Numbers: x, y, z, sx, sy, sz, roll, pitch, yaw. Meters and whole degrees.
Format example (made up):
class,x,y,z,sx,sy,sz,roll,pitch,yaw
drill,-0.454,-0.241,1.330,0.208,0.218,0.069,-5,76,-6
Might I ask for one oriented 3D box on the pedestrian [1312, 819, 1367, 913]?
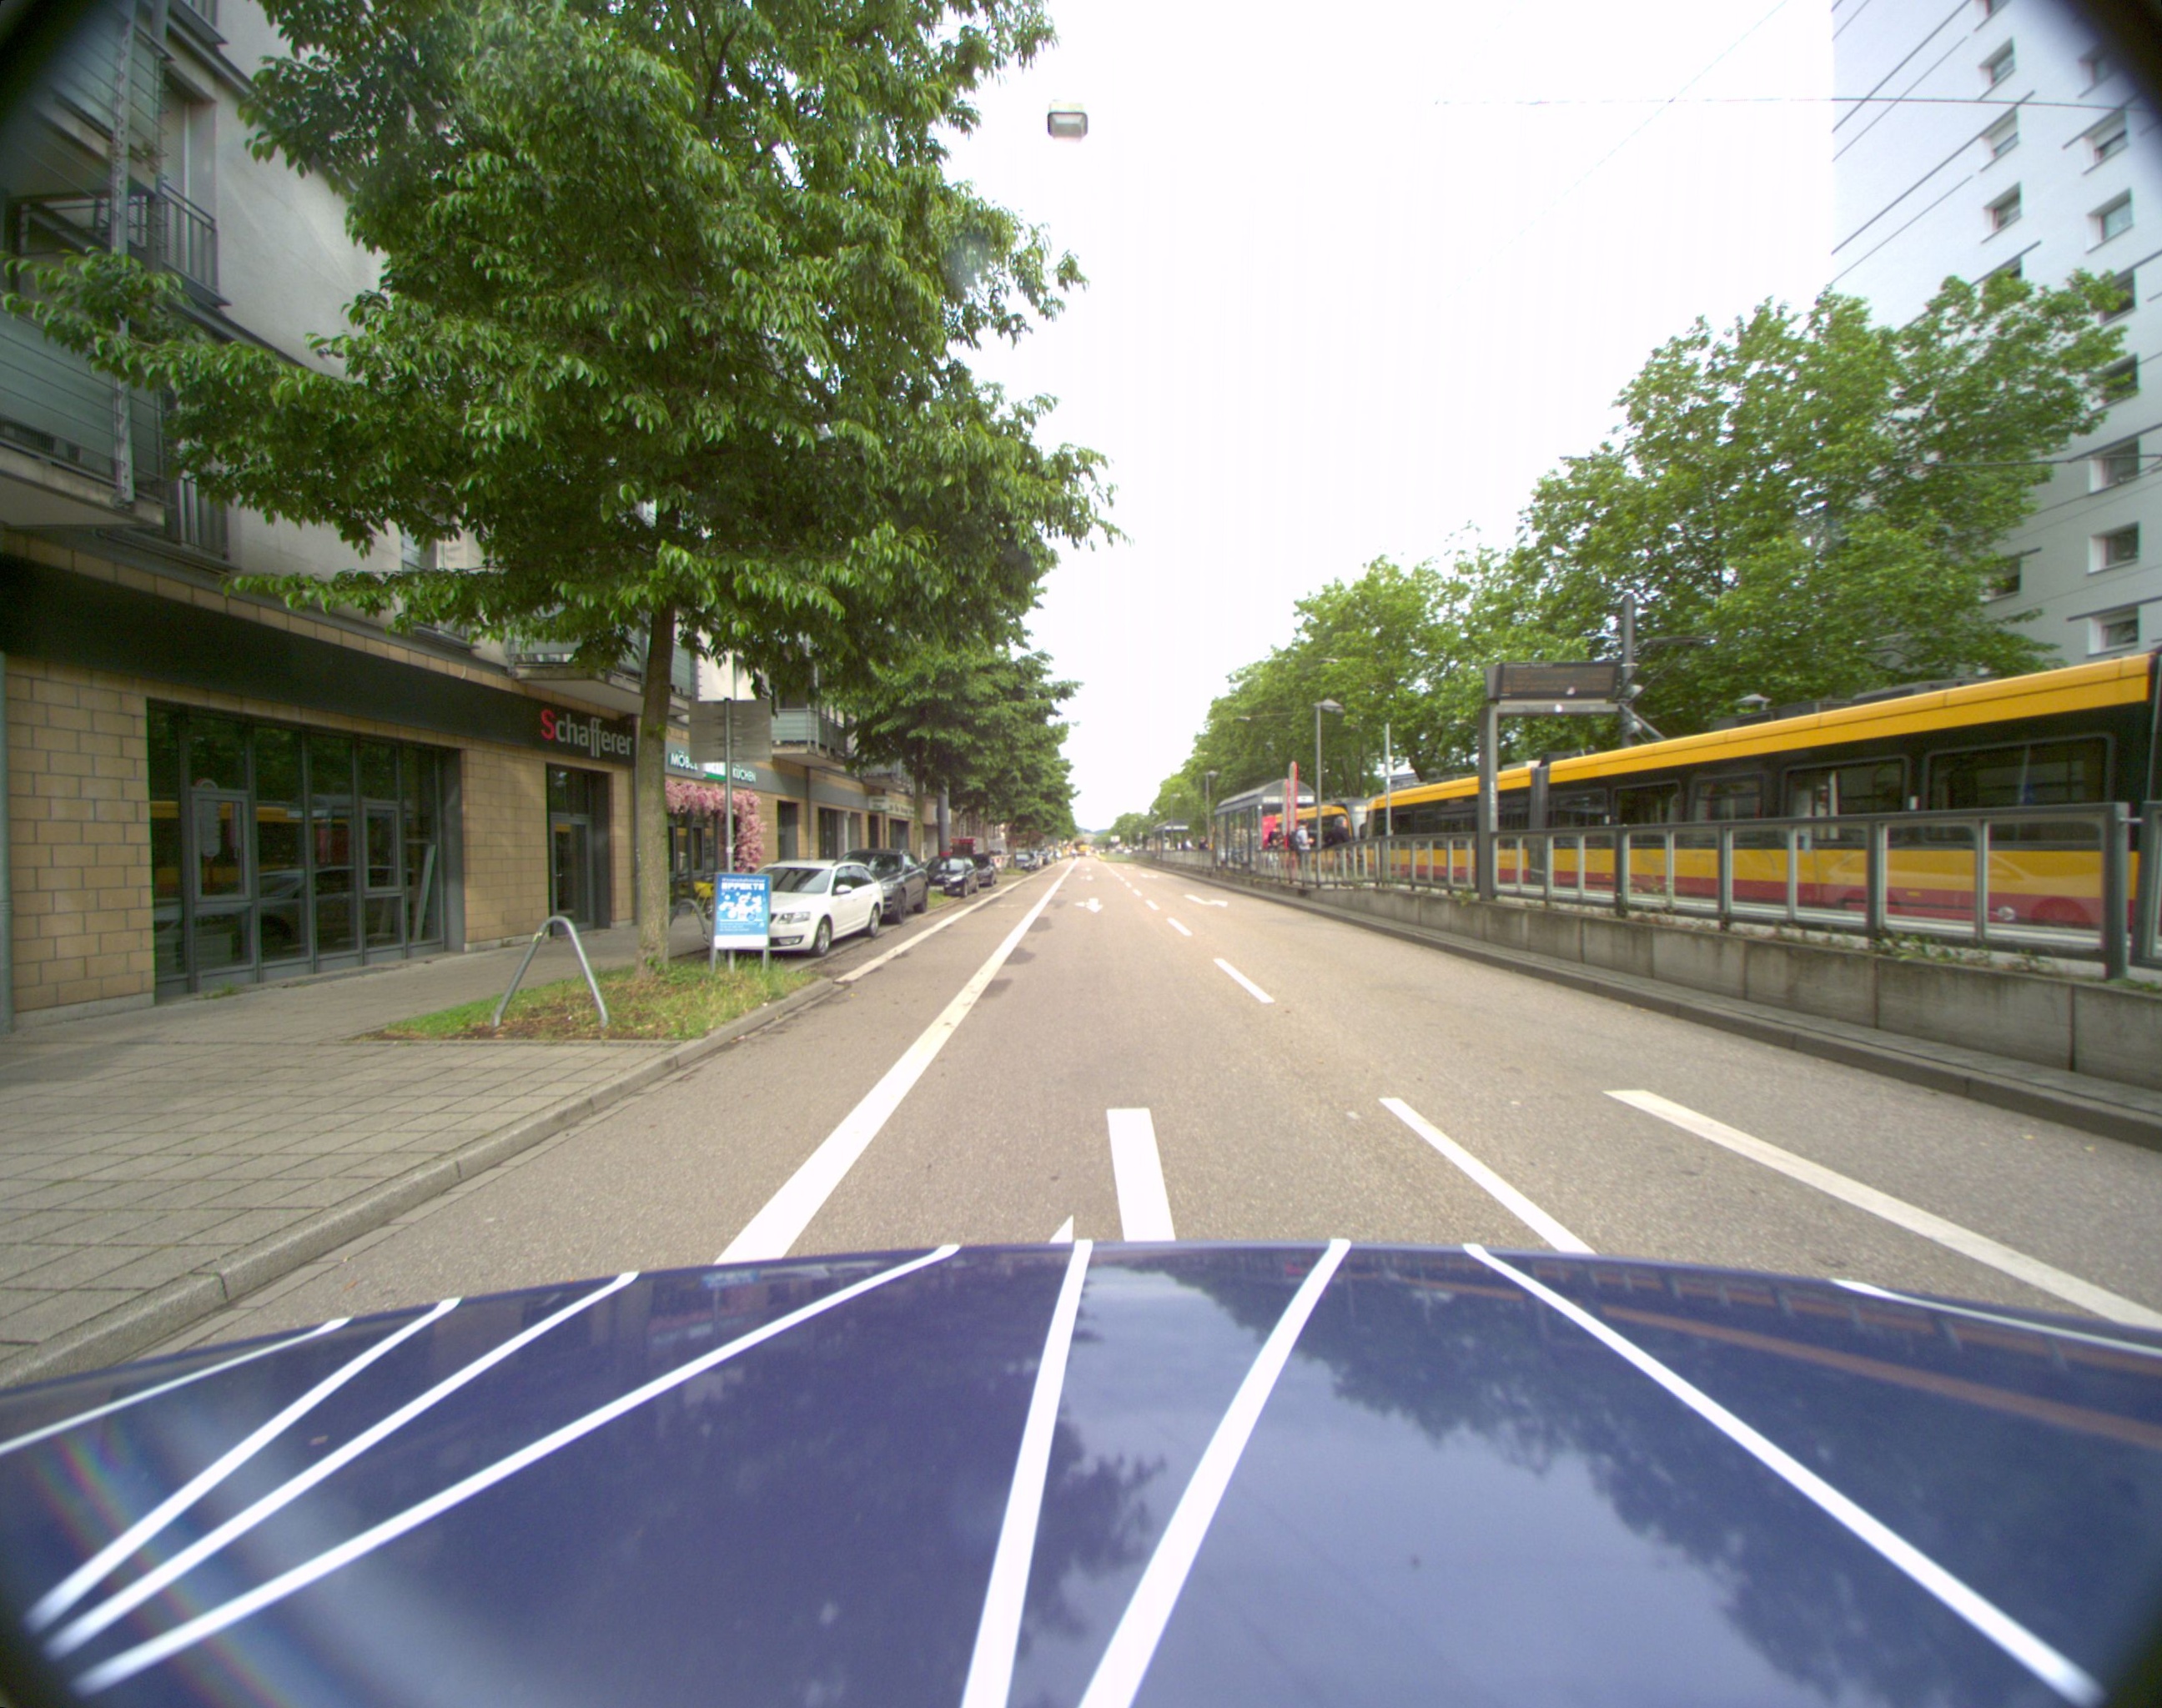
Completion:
class,x,y,z,sx,sy,sz,roll,pitch,yaw
pedestrian,5.717,0.244,16.797,0.756,2.002,0.816,-3,2,-36

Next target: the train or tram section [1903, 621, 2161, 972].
class,x,y,z,sx,sy,sz,roll,pitch,yaw
train or tram section,12.446,-0.550,2.210,3.067,3.568,15.846,-2,1,1

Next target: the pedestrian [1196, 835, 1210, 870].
class,x,y,z,sx,sy,sz,roll,pitch,yaw
pedestrian,5.869,-0.081,36.627,0.513,1.623,0.730,-2,1,2

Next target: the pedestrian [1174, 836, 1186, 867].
class,x,y,z,sx,sy,sz,roll,pitch,yaw
pedestrian,6.647,-0.175,50.951,0.676,2.002,0.588,-2,1,-2

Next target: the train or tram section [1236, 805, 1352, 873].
class,x,y,z,sx,sy,sz,roll,pitch,yaw
train or tram section,13.011,-0.942,48.606,3.067,3.511,15.769,-2,1,1

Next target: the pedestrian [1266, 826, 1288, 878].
class,x,y,z,sx,sy,sz,roll,pitch,yaw
pedestrian,6.231,-0.058,24.190,0.532,1.623,0.471,-2,1,-2

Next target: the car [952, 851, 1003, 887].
class,x,y,z,sx,sy,sz,roll,pitch,yaw
car,-4.698,0.642,35.104,1.802,1.447,4.387,2,1,-1

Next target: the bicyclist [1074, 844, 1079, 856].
class,x,y,z,sx,sy,sz,roll,pitch,yaw
bicyclist,-0.684,-0.579,117.003,0.751,1.777,0.838,-2,1,1

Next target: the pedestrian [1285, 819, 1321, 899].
class,x,y,z,sx,sy,sz,roll,pitch,yaw
pedestrian,5.760,0.129,19.702,0.753,2.002,0.819,-2,2,24

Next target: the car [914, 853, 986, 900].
class,x,y,z,sx,sy,sz,roll,pitch,yaw
car,-4.612,0.747,27.347,1.680,1.433,4.407,2,1,2

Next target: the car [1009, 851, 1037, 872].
class,x,y,z,sx,sy,sz,roll,pitch,yaw
car,-4.287,0.541,56.494,1.755,1.452,4.279,1,1,0

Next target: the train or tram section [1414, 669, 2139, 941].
class,x,y,z,sx,sy,sz,roll,pitch,yaw
train or tram section,12.630,-0.761,17.771,3.067,3.511,15.292,-2,1,1

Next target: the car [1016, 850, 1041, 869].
class,x,y,z,sx,sy,sz,roll,pitch,yaw
car,-4.287,0.462,62.676,1.755,1.452,4.279,1,1,0

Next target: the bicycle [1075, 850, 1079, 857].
class,x,y,z,sx,sy,sz,roll,pitch,yaw
bicycle,-0.641,-0.101,116.884,0.613,1.116,2.050,-2,1,1

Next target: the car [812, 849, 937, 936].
class,x,y,z,sx,sy,sz,roll,pitch,yaw
car,-4.743,0.790,18.141,1.716,1.707,4.710,2,1,-1

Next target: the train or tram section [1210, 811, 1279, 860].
class,x,y,z,sx,sy,sz,roll,pitch,yaw
train or tram section,13.210,-1.453,62.755,3.100,3.541,12.537,-2,1,1

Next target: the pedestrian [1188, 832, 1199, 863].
class,x,y,z,sx,sy,sz,roll,pitch,yaw
pedestrian,6.085,-0.361,41.223,0.480,1.623,0.392,-2,1,2

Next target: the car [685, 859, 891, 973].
class,x,y,z,sx,sy,sz,roll,pitch,yaw
car,-4.707,0.892,12.979,1.680,1.490,4.389,2,1,2

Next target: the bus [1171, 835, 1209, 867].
class,x,y,z,sx,sy,sz,roll,pitch,yaw
bus,7.451,-0.231,52.329,1.998,2.002,3.999,-2,1,1

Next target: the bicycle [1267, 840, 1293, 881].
class,x,y,z,sx,sy,sz,roll,pitch,yaw
bicycle,6.052,0.189,23.191,0.420,1.215,1.289,-2,1,0

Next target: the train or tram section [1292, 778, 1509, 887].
class,x,y,z,sx,sy,sz,roll,pitch,yaw
train or tram section,12.830,-0.836,33.083,3.067,3.511,15.292,-2,1,1

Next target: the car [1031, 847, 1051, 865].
class,x,y,z,sx,sy,sz,roll,pitch,yaw
car,-4.085,0.168,78.797,1.837,1.720,4.279,1,1,0
